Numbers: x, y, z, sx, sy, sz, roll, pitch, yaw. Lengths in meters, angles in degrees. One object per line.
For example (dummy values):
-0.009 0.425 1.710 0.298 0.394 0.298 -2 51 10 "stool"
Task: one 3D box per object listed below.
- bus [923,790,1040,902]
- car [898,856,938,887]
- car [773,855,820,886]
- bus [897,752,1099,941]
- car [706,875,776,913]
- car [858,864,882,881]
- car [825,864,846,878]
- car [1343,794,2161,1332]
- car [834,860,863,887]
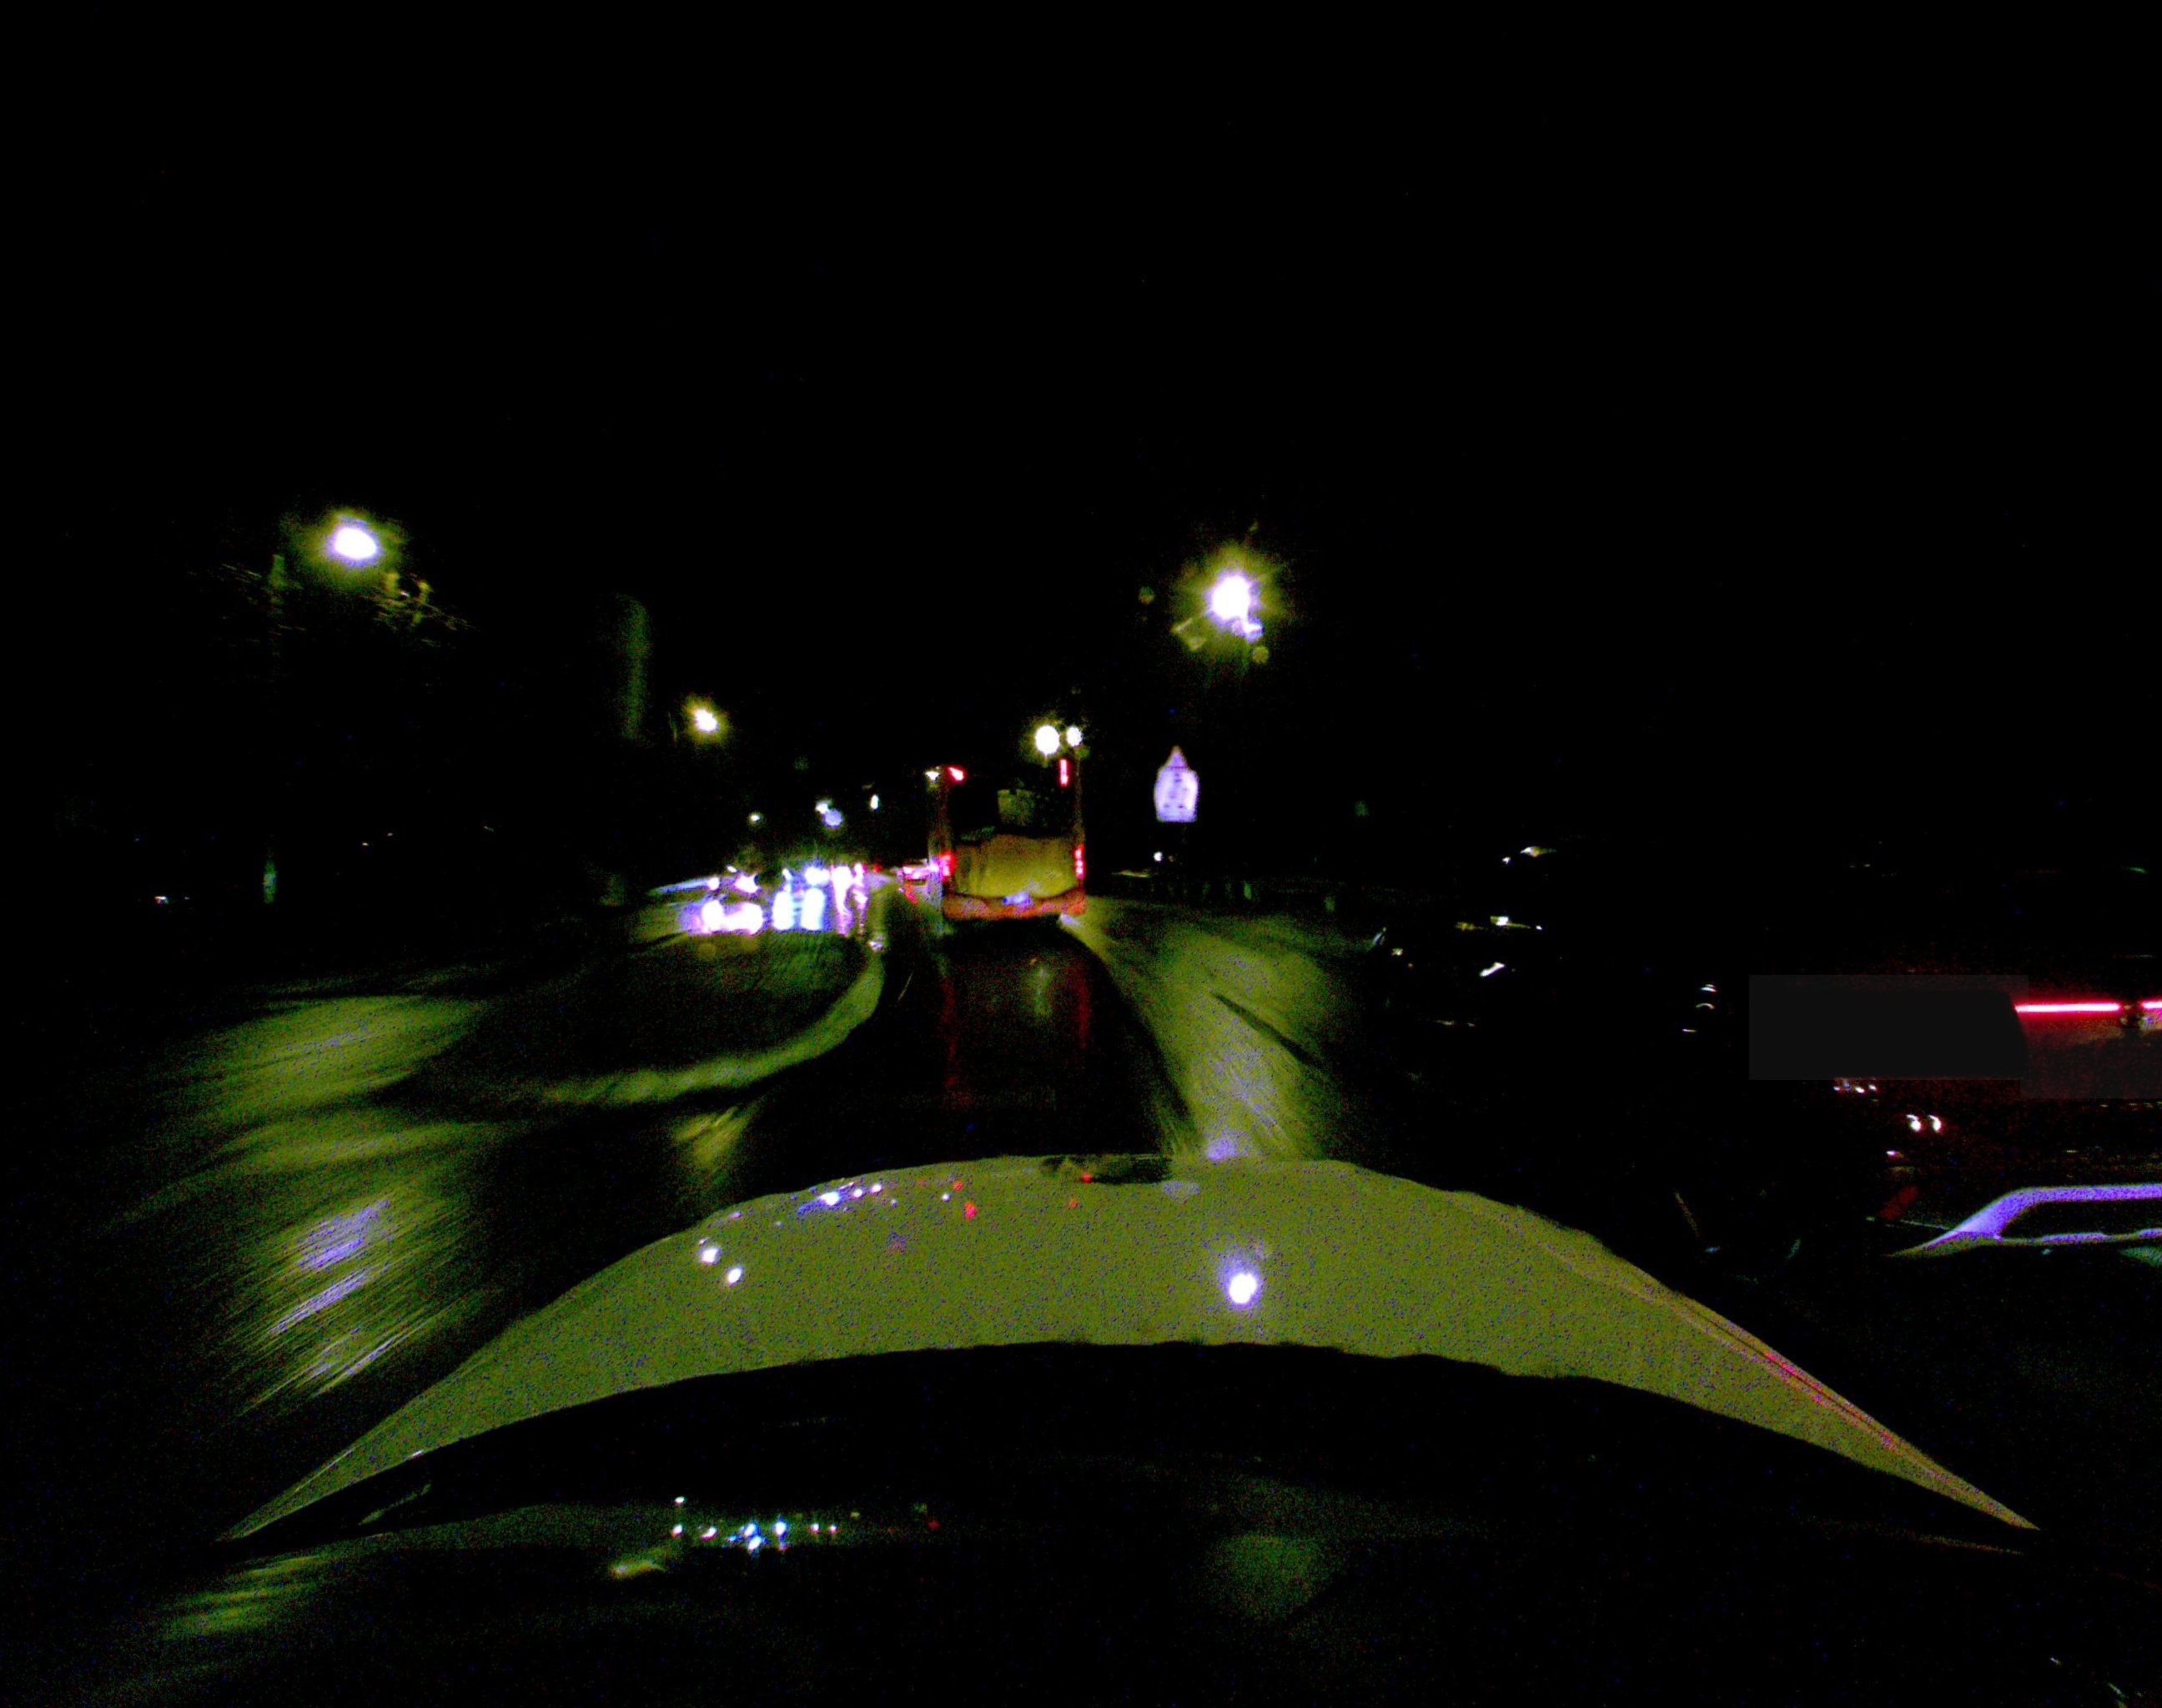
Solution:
-3.469 -0.242 27.186 3.247 3.120 8.617 1 0 -9 "bus"
-10.924 1.167 54.369 2.000 2.014 4.320 1 -2 -19 "car"
-16.225 0.894 46.649 1.882 1.607 4.641 0 0 -12 "car"
-2.066 -0.340 18.102 3.284 3.049 9.516 -1 3 -9 "bus"
-13.851 1.581 33.389 1.825 1.448 4.639 1 -2 -13 "car"
-21.026 1.865 81.143 1.823 1.618 3.970 1 -2 -22 "car"
-28.212 1.974 93.432 1.824 1.618 3.967 1 -2 -24 "car"
2.930 0.642 4.342 1.673 1.522 3.956 0 -2 -2 "car"
-17.820 1.496 62.317 1.999 2.014 4.322 0 -2 -18 "car"
